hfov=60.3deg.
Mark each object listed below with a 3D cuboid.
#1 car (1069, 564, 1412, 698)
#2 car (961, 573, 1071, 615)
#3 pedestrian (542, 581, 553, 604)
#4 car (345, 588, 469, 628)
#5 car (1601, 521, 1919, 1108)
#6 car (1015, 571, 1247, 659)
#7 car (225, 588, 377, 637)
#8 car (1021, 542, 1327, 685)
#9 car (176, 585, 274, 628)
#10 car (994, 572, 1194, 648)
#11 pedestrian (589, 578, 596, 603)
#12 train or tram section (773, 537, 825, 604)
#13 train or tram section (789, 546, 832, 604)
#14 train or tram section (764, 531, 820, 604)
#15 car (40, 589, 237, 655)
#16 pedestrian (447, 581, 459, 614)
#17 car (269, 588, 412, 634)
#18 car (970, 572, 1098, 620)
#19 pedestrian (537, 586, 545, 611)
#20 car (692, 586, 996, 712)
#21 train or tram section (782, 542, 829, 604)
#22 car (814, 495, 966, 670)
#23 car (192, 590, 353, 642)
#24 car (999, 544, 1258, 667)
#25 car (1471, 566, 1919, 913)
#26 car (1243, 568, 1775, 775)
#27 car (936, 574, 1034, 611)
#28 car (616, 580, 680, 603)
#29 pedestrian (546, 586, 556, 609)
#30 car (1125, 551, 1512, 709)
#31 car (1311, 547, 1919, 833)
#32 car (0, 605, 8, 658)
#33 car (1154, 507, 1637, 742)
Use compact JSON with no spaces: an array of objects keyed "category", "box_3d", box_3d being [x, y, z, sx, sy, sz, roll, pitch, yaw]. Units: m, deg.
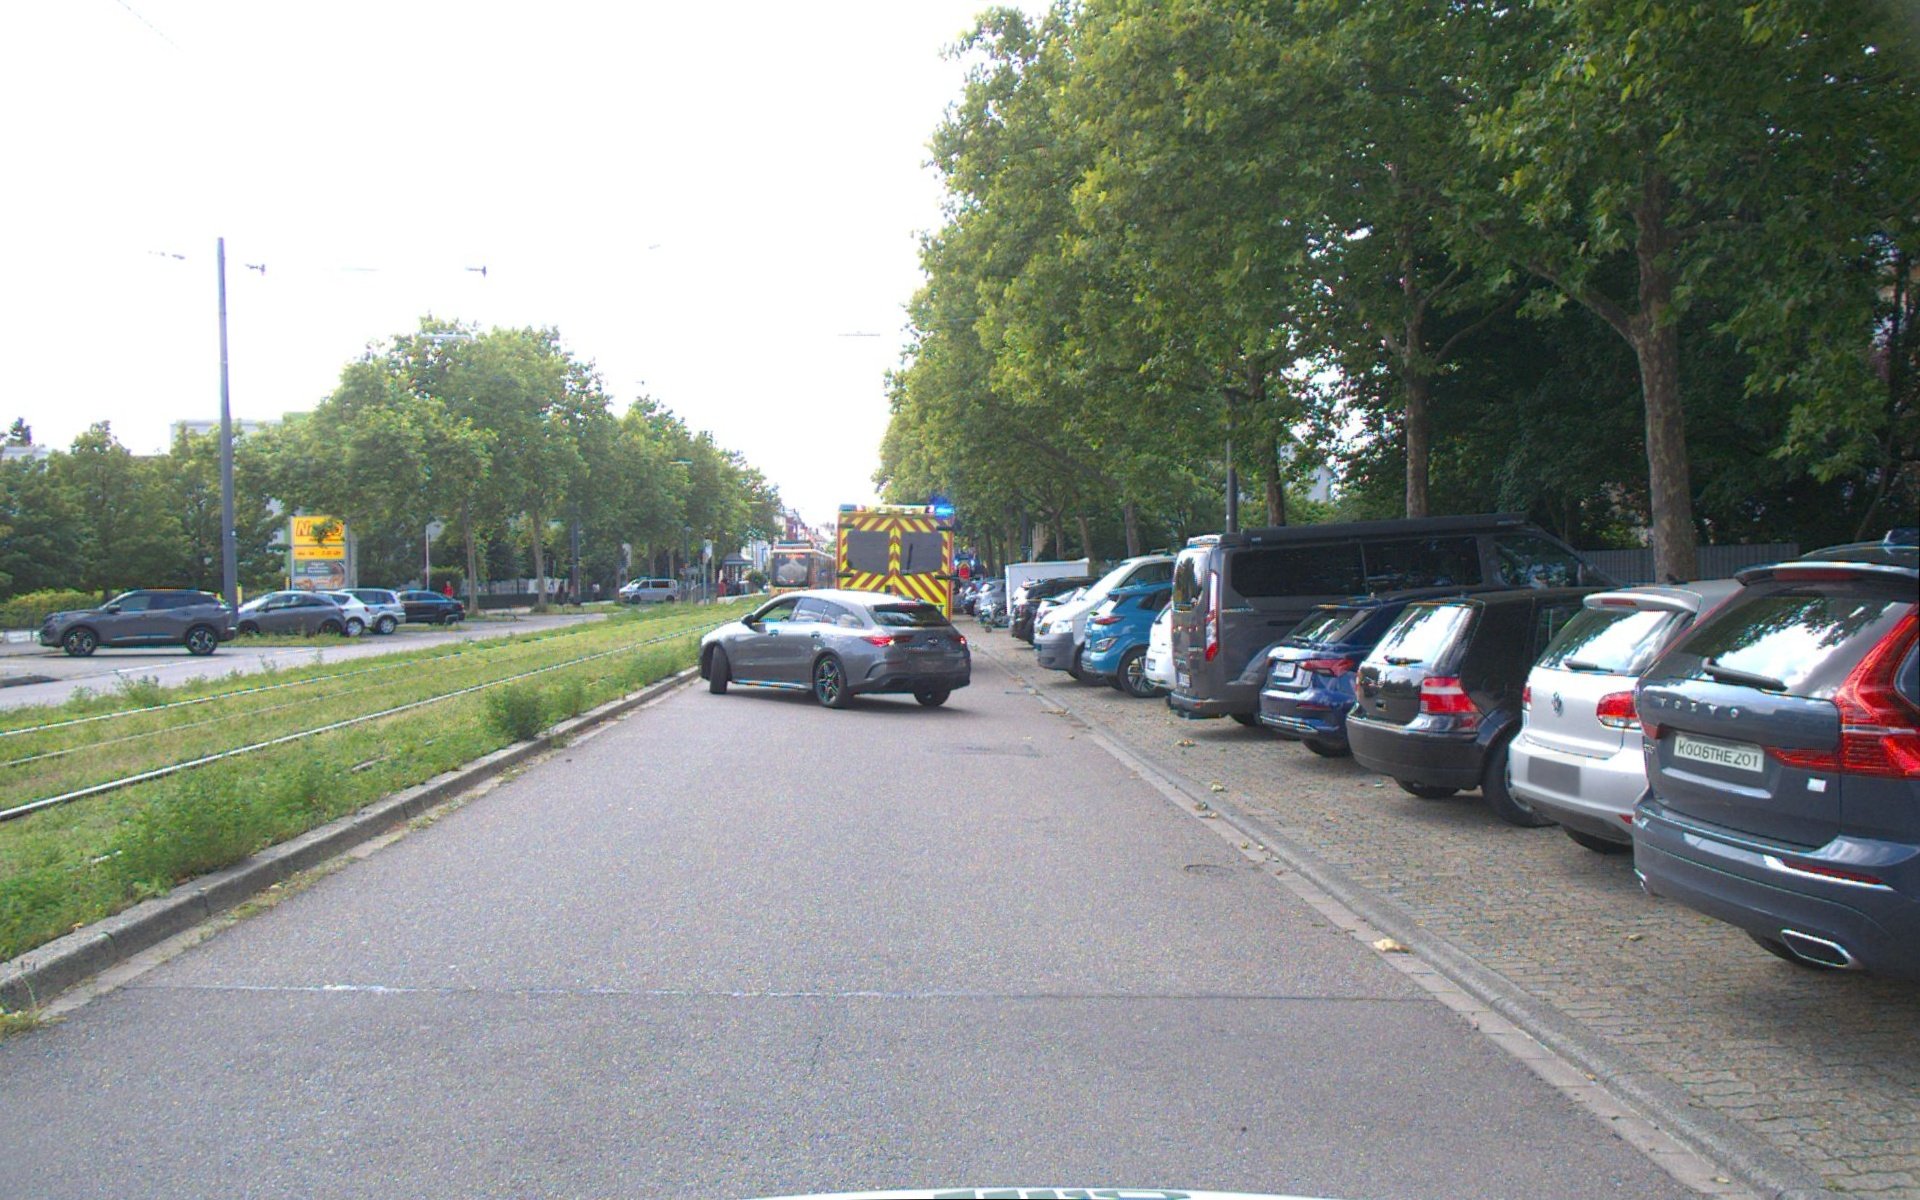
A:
[{"category":"car","box_3d":[3.935,0.407,23.586,4.459,1.689,1.853,-2,0,-7]},{"category":"car","box_3d":[2.360,-0.251,70.711,4.458,1.636,1.853,-2,0,-6]},{"category":"pedestrian","box_3d":[-27.922,-0.513,111.958,0.620,1.578,0.621,-1,0,-6]},{"category":"car","box_3d":[-21.442,0.308,64.202,4.199,1.508,1.854,0,0,-42]},{"category":"car","box_3d":[4.678,0.543,5.629,4.292,1.668,1.756,-2,0,-1]},{"category":"car","box_3d":[3.493,0.294,34.175,4.458,1.636,1.853,-2,0,-6]},{"category":"car","box_3d":[-21.074,0.382,52.982,4.192,1.508,1.857,0,0,-39]},{"category":"car","box_3d":[3.313,0.192,26.095,4.458,2.035,1.853,-2,0,-6]},{"category":"car","box_3d":[-32.491,0.264,73.083,3.912,1.780,1.997,2,1,29]},{"category":"car","box_3d":[3.139,0.219,39.319,4.458,1.636,1.853,-2,0,-6]},{"category":"pedestrian","box_3d":[-27.618,-0.685,124.322,0.457,1.860,0.422,-1,0,-4]},{"category":"train or tram section","box_3d":[-9.299,-1.655,96.113,2.462,3.646,7.441,-2,0,-3]},{"category":"train or tram section","box_3d":[-9.970,-1.604,110.979,2.462,3.646,7.441,-2,0,-3]},{"category":"train or tram section","box_3d":[-8.953,-1.680,88.693,2.462,3.646,7.441,-2,0,-3]},{"category":"car","box_3d":[-19.805,0.509,39.991,4.172,1.508,1.867,0,0,-28]},{"category":"pedestrian","box_3d":[-26.570,-0.116,86.719,0.457,1.706,0.603,-1,0,-4]},{"category":"car","box_3d":[-20.952,0.351,56.014,4.192,1.508,1.857,0,0,-39]},{"category":"car","box_3d":[2.699,-0.157,60.870,4.458,1.636,1.853,-2,0,-6]},{"category":"pedestrian","box_3d":[-25.924,-0.106,102.257,0.413,1.499,0.467,-1,0,-7]},{"category":"car","box_3d":[-1.625,0.573,21.724,1.750,1.409,4.403,1,1,-40]},{"category":"train or tram section","box_3d":[-9.638,-1.629,103.547,2.462,3.646,7.441,-2,0,-3]},{"category":"car","box_3d":[-1.279,-0.328,32.515,2.588,3.018,6.298,2,0,-1]},{"category":"car","box_3d":[-20.803,0.452,50.090,4.192,1.508,1.857,0,0,-39]},{"category":"car","box_3d":[3.080,0.083,30.682,4.458,2.079,1.853,-2,0,-6]},{"category":"car","box_3d":[4.856,0.594,8.476,3.887,1.520,1.755,-2,0,-3]},{"category":"car","box_3d":[4.526,0.559,14.007,3.887,1.520,1.755,-2,0,-3]},{"category":"car","box_3d":[1.195,-0.373,78.899,4.458,1.636,1.853,-2,0,-6]},{"category":"car","box_3d":[-24.228,-0.680,128.648,4.588,1.661,1.855,-1,1,-42]},{"category":"pedestrian","box_3d":[-25.732,-0.138,104.143,0.412,1.439,0.467,-1,0,22]},{"category":"car","box_3d":[4.476,0.352,21.075,4.455,1.797,1.855,-2,0,-3]},{"category":"car","box_3d":[4.563,0.516,11.189,3.897,1.633,1.750,-2,1,-13]},{"category":"car","box_3d":[-31.169,0.930,49.822,3.905,1.592,1.777,1,0,0]},{"category":"car","box_3d":[4.393,0.222,17.135,4.455,2.160,1.855,-2,0,-3]}]
